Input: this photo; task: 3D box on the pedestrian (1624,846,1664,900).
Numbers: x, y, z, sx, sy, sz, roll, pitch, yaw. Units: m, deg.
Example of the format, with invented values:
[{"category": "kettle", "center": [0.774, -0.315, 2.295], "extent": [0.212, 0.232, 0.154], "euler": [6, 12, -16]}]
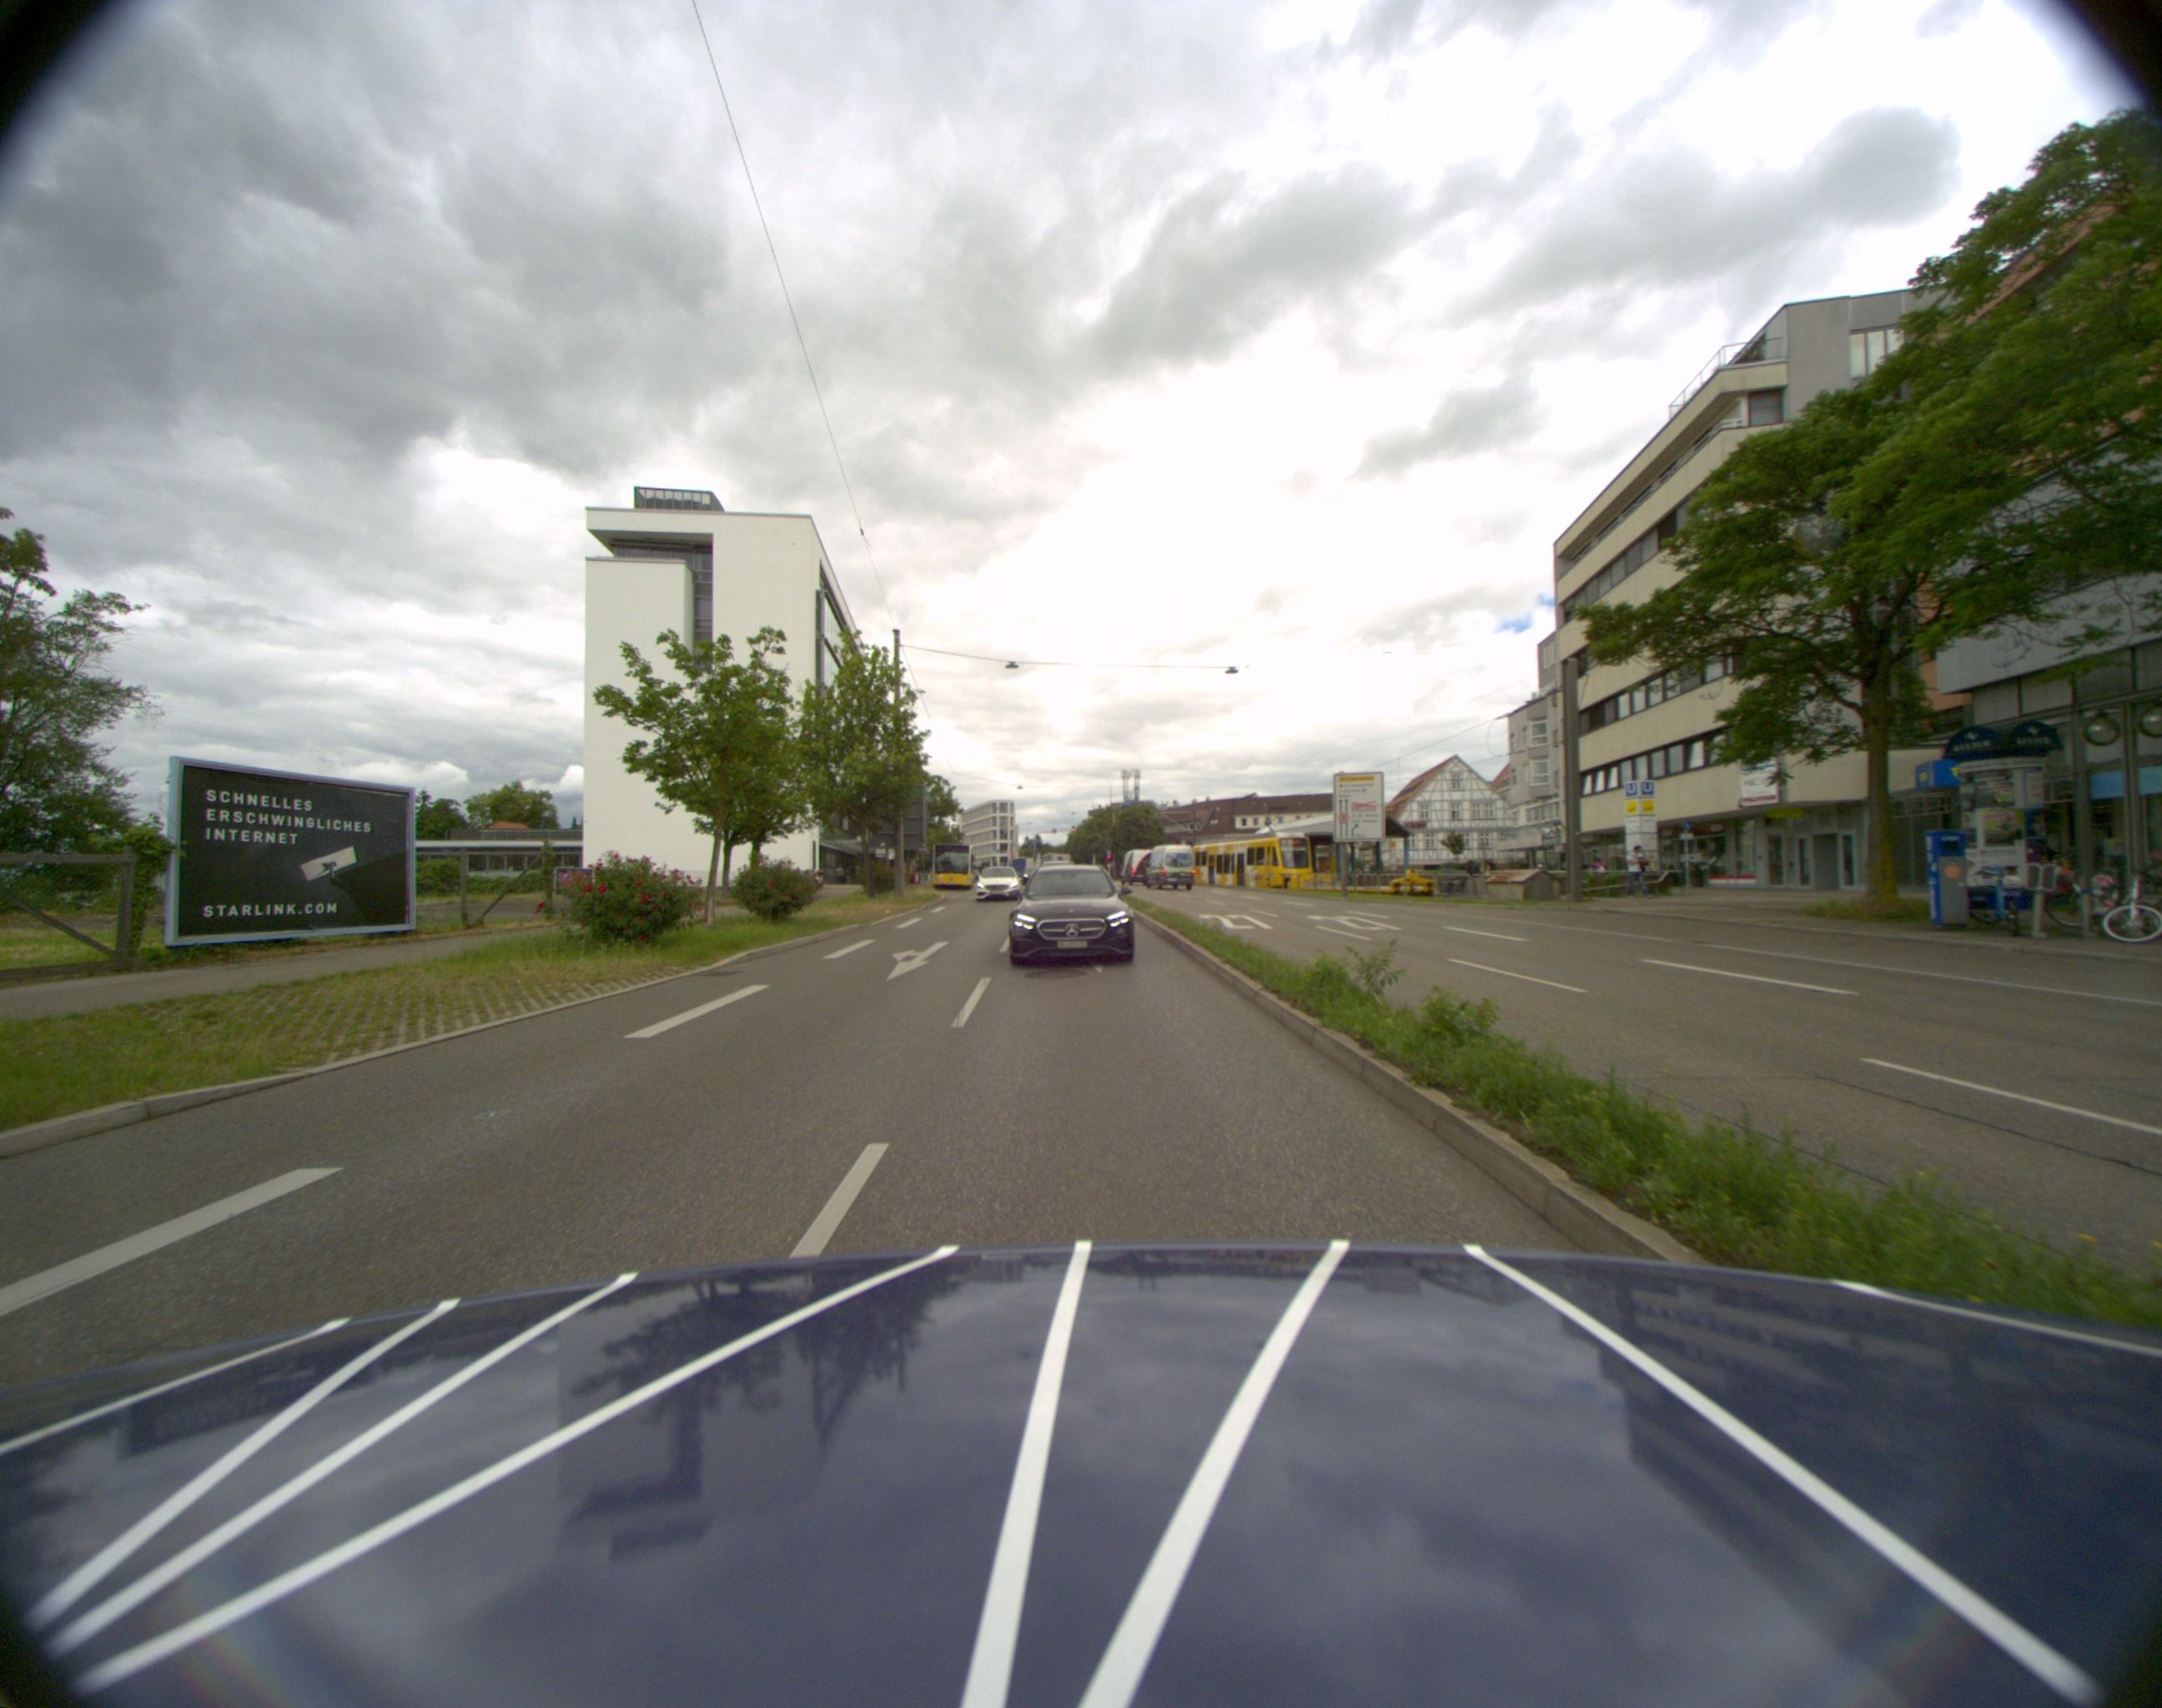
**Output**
[{"category": "pedestrian", "center": [19.813, 0.648, 26.757], "extent": [0.746, 1.866, 0.873], "euler": [0, 0, -4]}]

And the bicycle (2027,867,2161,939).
[{"category": "bicycle", "center": [17.797, 0.800, 13.140], "extent": [0.604, 1.154, 1.966], "euler": [0, -1, 8]}]

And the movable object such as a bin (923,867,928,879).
[{"category": "movable object such as a bin", "center": [-14.451, 1.760, 70.429], "extent": [0.421, 1.023, 0.532], "euler": [-1, -1, -9]}]

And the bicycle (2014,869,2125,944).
[{"category": "bicycle", "center": [16.666, 0.847, 12.863], "extent": [0.603, 1.154, 1.969], "euler": [0, -1, 36]}]

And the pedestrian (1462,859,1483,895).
[{"category": "pedestrian", "center": [17.334, 1.012, 33.656], "extent": [0.600, 1.564, 0.620], "euler": [0, 0, -6]}]

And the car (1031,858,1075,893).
[{"category": "car", "center": [-1.382, 1.054, 38.916], "extent": [1.734, 1.680, 4.370], "euler": [-1, 0, 4]}]

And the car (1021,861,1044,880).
[{"category": "car", "center": [-4.050, 1.397, 64.194], "extent": [1.735, 1.474, 4.368], "euler": [-1, 0, -1]}]

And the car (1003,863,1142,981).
[{"category": "car", "center": [-0.194, 0.999, 13.137], "extent": [1.873, 1.542, 4.773], "euler": [-3, -1, -2]}]

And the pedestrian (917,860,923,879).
[{"category": "pedestrian", "center": [-14.701, 1.402, 69.394], "extent": [0.510, 1.725, 0.572], "euler": [-1, -1, -9]}]

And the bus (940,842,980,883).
[{"category": "bus", "center": [-10.000, 0.711, 63.141], "extent": [3.046, 3.216, 9.332], "euler": [0, -1, -8]}]

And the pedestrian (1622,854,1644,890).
[{"category": "pedestrian", "center": [26.441, 0.843, 36.390], "extent": [0.551, 1.690, 0.628], "euler": [0, 0, -6]}]

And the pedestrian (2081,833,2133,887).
[{"category": "pedestrian", "center": [33.942, 0.194, 25.143], "extent": [0.705, 1.706, 0.706], "euler": [-3, 0, -5]}]

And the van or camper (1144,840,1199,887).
[{"category": "van or camper", "center": [5.369, 0.571, 45.884], "extent": [2.038, 2.583, 6.113], "euler": [1, -1, -5]}]

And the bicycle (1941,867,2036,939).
[{"category": "bicycle", "center": [16.176, 0.841, 13.594], "extent": [0.603, 1.154, 1.969], "euler": [-3, -1, 37]}]

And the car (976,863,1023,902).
[{"category": "car", "center": [-3.602, 1.233, 32.994], "extent": [1.874, 1.496, 4.771], "euler": [-2, -2, -8]}]

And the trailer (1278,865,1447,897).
[{"category": "trailer", "center": [13.952, 1.283, 39.445], "extent": [2.850, 1.325, 12.118], "euler": [0, -1, -8]}]

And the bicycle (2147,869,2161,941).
[{"category": "bicycle", "center": [17.421, 0.814, 11.721], "extent": [0.603, 1.154, 1.693], "euler": [0, -1, 35]}]

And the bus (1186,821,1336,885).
[{"category": "bus", "center": [12.189, 0.030, 55.285], "extent": [3.889, 3.836, 19.329], "euler": [0, -1, -8]}]

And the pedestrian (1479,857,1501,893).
[{"category": "pedestrian", "center": [18.201, 0.940, 33.796], "extent": [0.600, 1.564, 0.620], "euler": [0, 0, -6]}]

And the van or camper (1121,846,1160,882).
[{"category": "van or camper", "center": [4.497, 0.767, 58.224], "extent": [1.999, 2.583, 6.114], "euler": [1, -1, -4]}]

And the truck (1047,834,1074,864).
[{"category": "truck", "center": [-2.998, -0.607, 108.254], "extent": [2.948, 3.934, 9.159], "euler": [-1, -1, -8]}]

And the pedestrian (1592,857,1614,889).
[{"category": "pedestrian", "center": [28.135, 1.027, 40.954], "extent": [0.693, 1.690, 0.628], "euler": [0, 0, -6]}]

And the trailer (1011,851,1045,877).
[{"category": "trailer", "center": [-9.263, 1.809, 130.909], "extent": [3.114, 4.243, 14.830], "euler": [0, -2, -15]}]

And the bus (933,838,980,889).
[{"category": "bus", "center": [-8.682, 0.640, 53.788], "extent": [2.992, 3.222, 9.859], "euler": [-1, 0, -8]}]

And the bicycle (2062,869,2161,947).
[{"category": "bicycle", "center": [16.860, 0.838, 12.349], "extent": [0.603, 1.154, 1.814], "euler": [0, -1, 35]}]
